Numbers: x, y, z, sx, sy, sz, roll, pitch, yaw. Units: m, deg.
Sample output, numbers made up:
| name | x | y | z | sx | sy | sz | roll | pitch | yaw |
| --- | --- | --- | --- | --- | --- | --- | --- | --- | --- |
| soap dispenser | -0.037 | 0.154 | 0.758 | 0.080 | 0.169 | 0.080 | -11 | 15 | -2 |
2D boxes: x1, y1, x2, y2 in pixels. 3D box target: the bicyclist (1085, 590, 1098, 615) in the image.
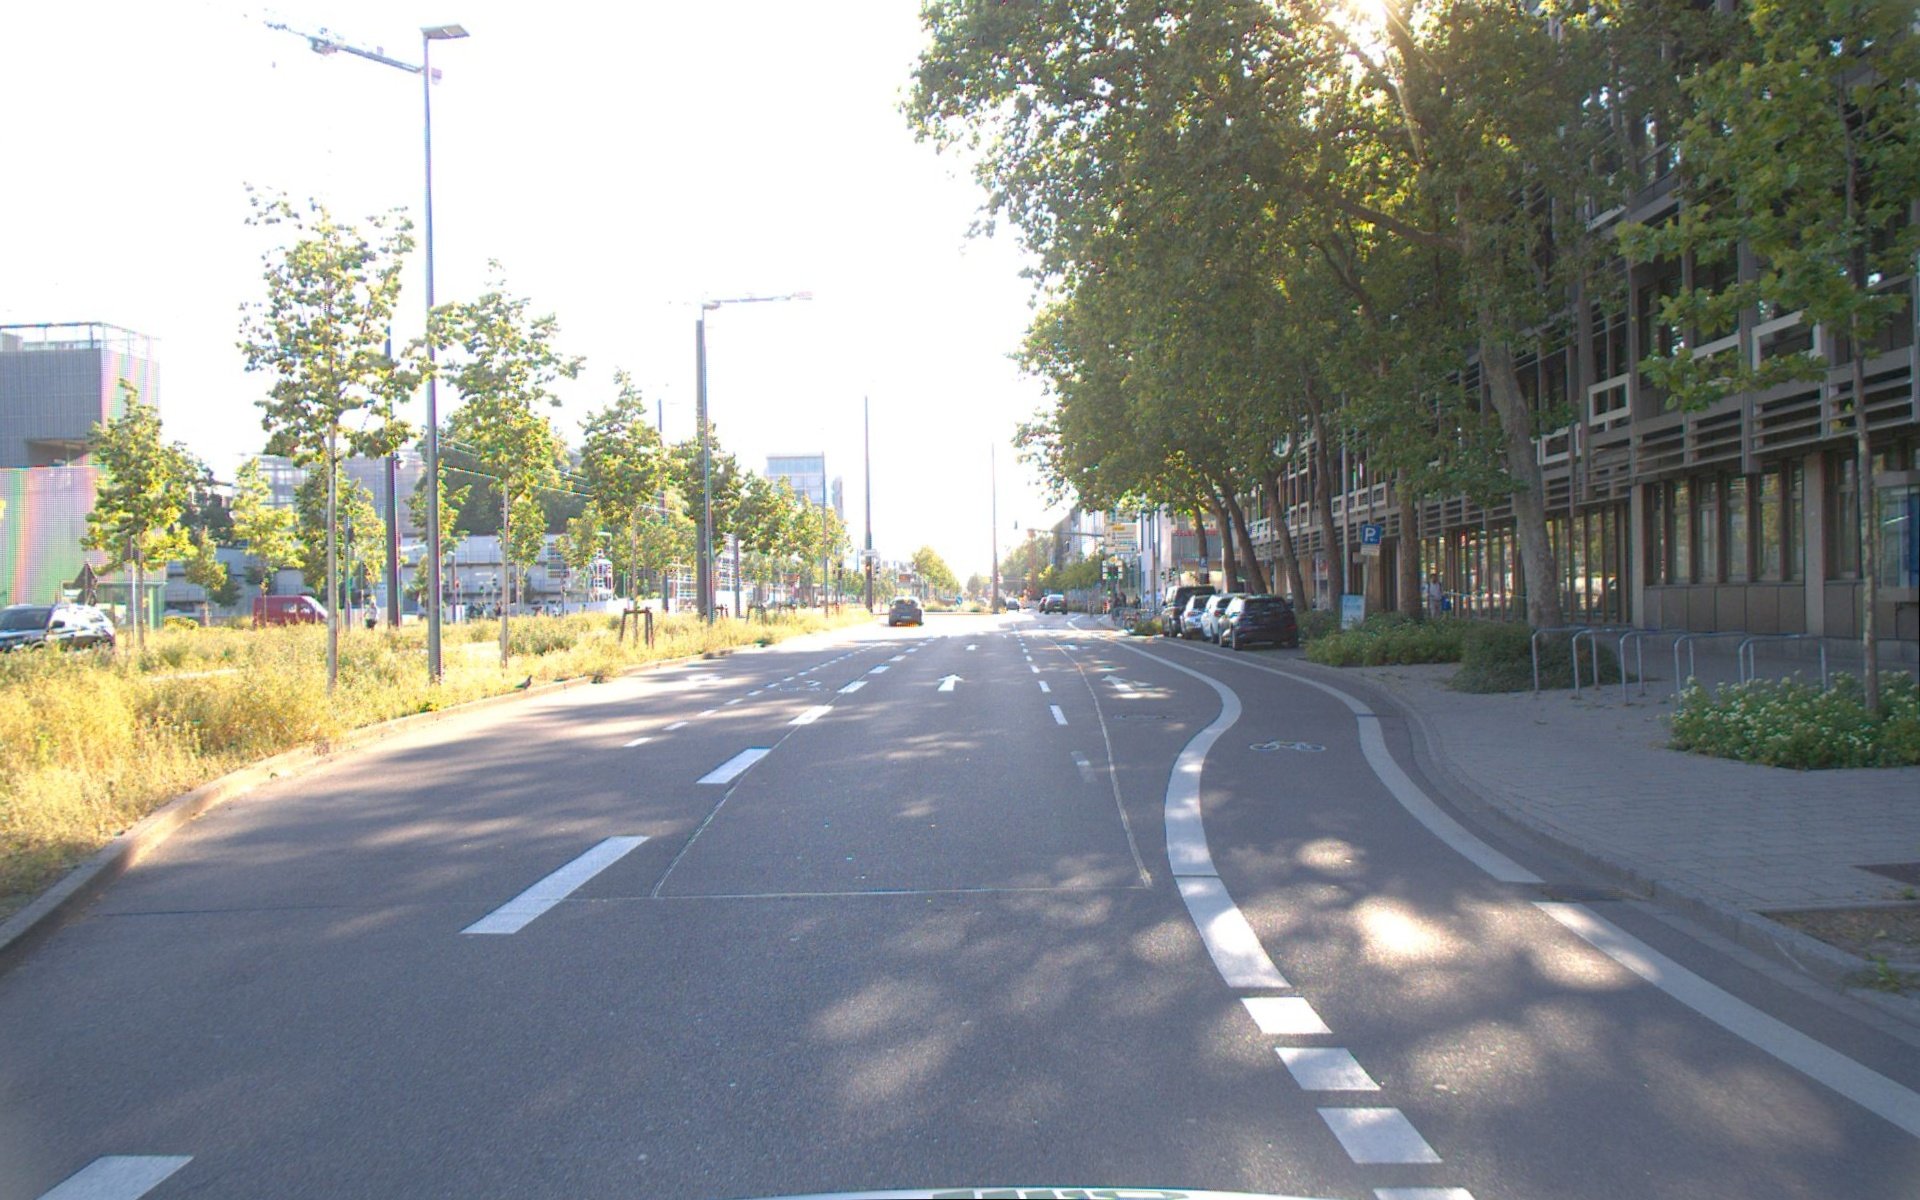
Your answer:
| name | x | y | z | sx | sy | sz | roll | pitch | yaw |
| --- | --- | --- | --- | --- | --- | --- | --- | --- | --- |
| bicyclist | 8.784 | 0.178 | 110.492 | 0.783 | 1.630 | 0.785 | -1 | 0 | 2 |

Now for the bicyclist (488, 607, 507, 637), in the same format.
| name | x | y | z | sx | sy | sz | roll | pitch | yaw |
| --- | --- | --- | --- | --- | --- | --- | --- | --- | --- |
| bicyclist | -23.042 | 1.079 | 82.369 | 0.571 | 1.467 | 1.076 | -1 | 0 | 2 |

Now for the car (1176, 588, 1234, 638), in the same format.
| name | x | y | z | sx | sy | sz | roll | pitch | yaw |
| --- | --- | --- | --- | --- | --- | --- | --- | --- | --- |
| car | 8.477 | 0.421 | 57.543 | 1.646 | 1.540 | 5.062 | -4 | 0 | 5 |

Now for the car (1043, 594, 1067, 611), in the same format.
| name | x | y | z | sx | sy | sz | roll | pitch | yaw |
| --- | --- | --- | --- | --- | --- | --- | --- | --- | --- |
| car | 8.741 | 0.206 | 151.920 | 1.900 | 1.453 | 3.925 | -1 | 0 | -1 |

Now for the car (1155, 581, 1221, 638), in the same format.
| name | x | y | z | sx | sy | sz | roll | pitch | yaw |
| --- | --- | --- | --- | --- | --- | --- | --- | --- | --- |
| car | 8.705 | 0.338 | 63.601 | 1.792 | 2.005 | 5.322 | -4 | 0 | 1 |

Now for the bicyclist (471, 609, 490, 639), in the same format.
| name | x | y | z | sx | sy | sz | roll | pitch | yaw |
| --- | --- | --- | --- | --- | --- | --- | --- | --- | --- |
| bicyclist | -23.772 | 1.173 | 82.029 | 0.571 | 1.467 | 1.076 | -1 | 0 | 2 |

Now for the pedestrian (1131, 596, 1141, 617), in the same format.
| name | x | y | z | sx | sy | sz | roll | pitch | yaw |
| --- | --- | --- | --- | --- | --- | --- | --- | --- | --- |
| pedestrian | 14.722 | 0.546 | 138.571 | 0.800 | 1.764 | 0.790 | -1 | 0 | 4 |

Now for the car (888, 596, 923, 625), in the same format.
| name | x | y | z | sx | sy | sz | roll | pitch | yaw |
| --- | --- | --- | --- | --- | --- | --- | --- | --- | --- |
| car | -2.823 | 0.528 | 85.934 | 1.740 | 1.453 | 3.999 | 0 | 0 | -1 |

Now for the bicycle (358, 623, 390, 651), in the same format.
| name | x | y | z | sx | sy | sz | roll | pitch | yaw |
| --- | --- | --- | --- | --- | --- | --- | --- | --- | --- |
| bicycle | -23.434 | 1.481 | 66.185 | 0.547 | 1.078 | 1.899 | -1 | 0 | 1 |

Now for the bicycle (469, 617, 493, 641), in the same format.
| name | x | y | z | sx | sy | sz | roll | pitch | yaw |
| --- | --- | --- | --- | --- | --- | --- | --- | --- | --- |
| bicycle | -23.752 | 1.423 | 82.083 | 0.571 | 1.124 | 1.988 | -1 | 0 | 2 |

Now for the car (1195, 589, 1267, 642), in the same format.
| name | x | y | z | sx | sy | sz | roll | pitch | yaw |
| --- | --- | --- | --- | --- | --- | --- | --- | --- | --- |
| car | 8.458 | 0.455 | 51.871 | 1.647 | 1.504 | 3.875 | -4 | 0 | 2 |

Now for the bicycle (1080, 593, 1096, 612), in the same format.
| name | x | y | z | sx | sy | sz | roll | pitch | yaw |
| --- | --- | --- | --- | --- | --- | --- | --- | --- | --- |
| bicycle | 8.557 | 0.167 | 110.514 | 0.782 | 1.225 | 2.266 | -1 | 0 | 10 |

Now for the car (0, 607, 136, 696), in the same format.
| name | x | y | z | sx | sy | sz | roll | pitch | yaw |
| --- | --- | --- | --- | --- | --- | --- | --- | --- | --- |
| car | -20.585 | 1.106 | 37.039 | 1.832 | 1.796 | 4.813 | -1 | 0 | 0 |

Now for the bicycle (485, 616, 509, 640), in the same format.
| name | x | y | z | sx | sy | sz | roll | pitch | yaw |
| --- | --- | --- | --- | --- | --- | --- | --- | --- | --- |
| bicycle | -23.035 | 1.380 | 82.344 | 0.571 | 1.124 | 1.988 | -1 | 0 | 2 |

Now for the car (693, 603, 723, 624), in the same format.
| name | x | y | z | sx | sy | sz | roll | pitch | yaw |
| --- | --- | --- | --- | --- | --- | --- | --- | --- | --- |
| car | -22.842 | 1.241 | 149.924 | 1.952 | 1.807 | 4.000 | -1 | 0 | 1 |

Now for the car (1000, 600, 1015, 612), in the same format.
| name | x | y | z | sx | sy | sz | roll | pitch | yaw |
| --- | --- | --- | --- | --- | --- | --- | --- | --- | --- |
| car | 6.017 | 0.729 | 209.068 | 1.723 | 1.511 | 3.849 | -1 | 0 | -1 |

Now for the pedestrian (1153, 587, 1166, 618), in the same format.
| name | x | y | z | sx | sy | sz | roll | pitch | yaw |
| --- | --- | --- | --- | --- | --- | --- | --- | --- | --- |
| pedestrian | 13.920 | 0.172 | 115.390 | 0.750 | 2.096 | 0.798 | -3 | 0 | 7 |

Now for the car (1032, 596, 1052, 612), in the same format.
| name | x | y | z | sx | sy | sz | roll | pitch | yaw |
| --- | --- | --- | --- | --- | --- | --- | --- | --- | --- |
| car | 8.524 | 0.413 | 172.302 | 1.900 | 1.511 | 3.925 | -1 | 0 | -1 |

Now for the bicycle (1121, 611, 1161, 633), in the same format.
| name | x | y | z | sx | sy | sz | roll | pitch | yaw |
| --- | --- | --- | --- | --- | --- | --- | --- | --- | --- |
| bicycle | 7.877 | 0.948 | 71.866 | 1.656 | 0.882 | 0.573 | -3 | 0 | 9 |

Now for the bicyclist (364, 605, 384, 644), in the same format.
| name | x | y | z | sx | sy | sz | roll | pitch | yaw |
| --- | --- | --- | --- | --- | --- | --- | --- | --- | --- |
| bicyclist | -23.436 | 0.963 | 66.148 | 0.545 | 1.533 | 0.668 | -1 | 0 | 1 |

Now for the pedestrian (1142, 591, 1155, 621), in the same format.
| name | x | y | z | sx | sy | sz | roll | pitch | yaw |
| --- | --- | --- | --- | --- | --- | --- | --- | --- | --- |
| pedestrian | 13.252 | 0.429 | 116.268 | 0.750 | 2.096 | 0.798 | -3 | 0 | 7 |

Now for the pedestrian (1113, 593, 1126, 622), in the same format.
| name | x | y | z | sx | sy | sz | roll | pitch | yaw |
| --- | --- | --- | --- | --- | --- | --- | --- | --- | --- |
| pedestrian | 9.772 | 0.447 | 101.301 | 0.621 | 1.732 | 0.570 | -3 | 0 | 2 |

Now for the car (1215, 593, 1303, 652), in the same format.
| name | x | y | z | sx | sy | sz | roll | pitch | yaw |
| --- | --- | --- | --- | --- | --- | --- | --- | --- | --- |
| car | 8.176 | 0.577 | 45.521 | 1.671 | 1.443 | 4.277 | -4 | 0 | 2 |

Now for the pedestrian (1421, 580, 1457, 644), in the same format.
| name | x | y | z | sx | sy | sz | roll | pitch | yaw |
| --- | --- | --- | --- | --- | --- | --- | --- | --- | --- |
| pedestrian | 14.574 | 0.359 | 50.314 | 0.814 | 1.888 | 0.847 | -1 | 0 | 0 |

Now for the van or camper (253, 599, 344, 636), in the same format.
| name | x | y | z | sx | sy | sz | roll | pitch | yaw |
| --- | --- | --- | --- | --- | --- | --- | --- | --- | --- |
| van or camper | -47.183 | 1.224 | 117.986 | 5.542 | 2.456 | 2.156 | -1 | 0 | 2 |
